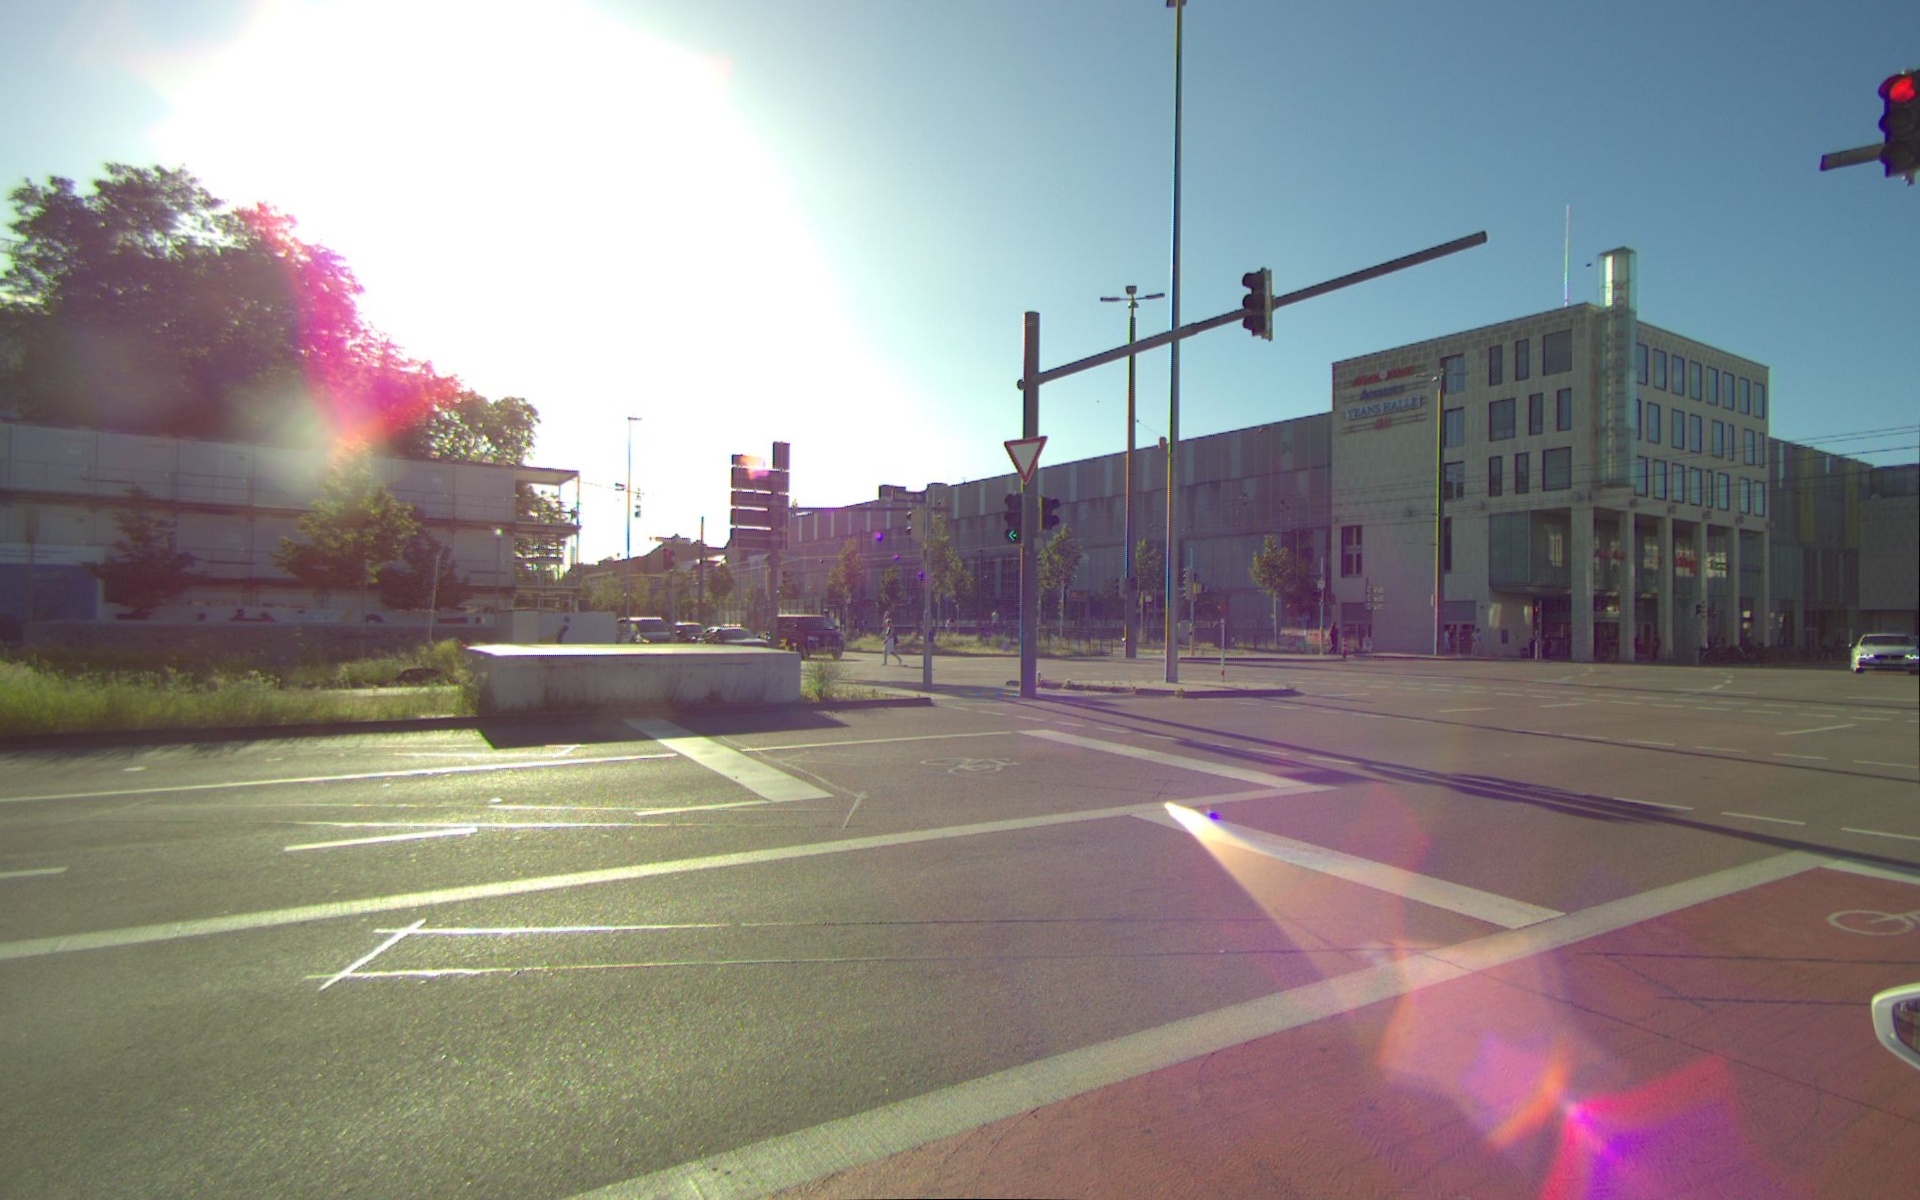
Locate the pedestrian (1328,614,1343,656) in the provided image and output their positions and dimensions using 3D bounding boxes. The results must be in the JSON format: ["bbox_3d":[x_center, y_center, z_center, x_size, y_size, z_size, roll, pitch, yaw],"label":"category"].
[{"bbox_3d":[18.423,1.695,49.286,0.620,2.040,0.509,1,-1,-44],"label":"pedestrian"}]

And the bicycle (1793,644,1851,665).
[{"bbox_3d":[61.620,3.903,71.827,0.893,1.419,3.032,1,-2,-34],"label":"bicycle"}]

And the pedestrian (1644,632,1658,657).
[{"bbox_3d":[45.268,2.908,65.819,0.613,1.629,0.653,0,-1,24],"label":"pedestrian"}]

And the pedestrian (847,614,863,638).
[{"bbox_3d":[-6.886,1.706,66.045,0.718,1.522,0.794,1,-1,-39],"label":"pedestrian"}]

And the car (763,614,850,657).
[{"bbox_3d":[-7.022,1.620,45.706,1.856,1.834,4.604,4,-4,-38],"label":"car"}]

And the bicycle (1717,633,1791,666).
[{"bbox_3d":[51.235,3.152,64.860,1.075,2.040,3.598,1,-2,-34],"label":"bicycle"}]

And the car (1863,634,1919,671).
[{"bbox_3d":[41.432,2.273,44.103,4.000,1.550,1.979,1,-2,-38],"label":"car"}]

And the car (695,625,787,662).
[{"bbox_3d":[-9.105,1.775,41.482,1.856,1.392,4.604,4,-4,-38],"label":"car"}]

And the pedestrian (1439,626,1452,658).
[{"bbox_3d":[31.290,2.682,64.706,0.512,2.040,0.618,1,-1,-39],"label":"pedestrian"}]

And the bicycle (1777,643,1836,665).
[{"bbox_3d":[58.925,3.733,69.976,0.893,1.419,3.032,1,-2,-34],"label":"bicycle"}]

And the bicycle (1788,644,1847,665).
[{"bbox_3d":[60.517,3.821,70.947,0.893,1.419,3.032,1,-2,-34],"label":"bicycle"}]

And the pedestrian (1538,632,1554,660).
[{"bbox_3d":[34.484,2.694,59.102,0.646,1.629,0.619,1,-1,-32],"label":"pedestrian"}]

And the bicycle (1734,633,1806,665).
[{"bbox_3d":[53.047,3.166,65.853,0.893,2.040,3.598,1,-2,-34],"label":"bicycle"}]

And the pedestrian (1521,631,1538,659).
[{"bbox_3d":[34.020,2.670,60.000,0.646,1.629,0.619,1,-1,-32],"label":"pedestrian"}]

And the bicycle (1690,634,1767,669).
[{"bbox_3d":[46.911,3.093,61.371,1.075,2.040,3.598,1,-2,-34],"label":"bicycle"}]

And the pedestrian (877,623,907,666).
[{"bbox_3d":[-2.470,1.604,36.517,0.796,1.522,0.716,1,-1,-40],"label":"pedestrian"}]

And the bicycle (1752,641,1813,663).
[{"bbox_3d":[55.273,3.460,67.562,0.893,1.419,3.032,1,-2,-34],"label":"bicycle"}]

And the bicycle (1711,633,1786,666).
[{"bbox_3d":[50.330,3.111,64.159,1.075,2.040,3.598,1,-2,-34],"label":"bicycle"}]

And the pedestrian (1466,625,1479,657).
[{"bbox_3d":[33.023,2.646,64.693,0.512,2.040,0.618,1,-1,-39],"label":"pedestrian"}]

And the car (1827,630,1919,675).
[{"bbox_3d":[32.622,1.822,35.941,1.967,1.374,4.630,-1,-1,35],"label":"car"}]

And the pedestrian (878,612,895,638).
[{"bbox_3d":[-4.477,1.514,61.029,0.718,1.522,0.794,1,-1,-39],"label":"pedestrian"}]

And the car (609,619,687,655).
[{"bbox_3d":[-15.324,1.816,49.173,2.119,1.631,4.604,4,-4,-38],"label":"car"}]

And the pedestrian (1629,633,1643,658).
[{"bbox_3d":[44.404,2.967,65.997,0.613,1.629,0.653,0,-1,24],"label":"pedestrian"}]

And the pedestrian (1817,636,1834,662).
[{"bbox_3d":[56.365,3.186,65.437,0.731,1.629,0.623,0,-1,32],"label":"pedestrian"}]

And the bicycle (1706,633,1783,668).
[{"bbox_3d":[48.285,3.078,61.878,1.075,2.040,3.598,1,-2,-34],"label":"bicycle"}]

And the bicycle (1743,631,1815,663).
[{"bbox_3d":[54.529,3.120,66.928,0.893,2.040,3.598,1,-2,-34],"label":"bicycle"}]

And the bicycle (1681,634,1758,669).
[{"bbox_3d":[45.807,3.074,60.639,1.077,2.040,3.593,1,-2,-38],"label":"bicycle"}]

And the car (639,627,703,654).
[{"bbox_3d":[-16.347,2.267,56.636,1.856,1.450,4.604,4,-4,-38],"label":"car"}]
